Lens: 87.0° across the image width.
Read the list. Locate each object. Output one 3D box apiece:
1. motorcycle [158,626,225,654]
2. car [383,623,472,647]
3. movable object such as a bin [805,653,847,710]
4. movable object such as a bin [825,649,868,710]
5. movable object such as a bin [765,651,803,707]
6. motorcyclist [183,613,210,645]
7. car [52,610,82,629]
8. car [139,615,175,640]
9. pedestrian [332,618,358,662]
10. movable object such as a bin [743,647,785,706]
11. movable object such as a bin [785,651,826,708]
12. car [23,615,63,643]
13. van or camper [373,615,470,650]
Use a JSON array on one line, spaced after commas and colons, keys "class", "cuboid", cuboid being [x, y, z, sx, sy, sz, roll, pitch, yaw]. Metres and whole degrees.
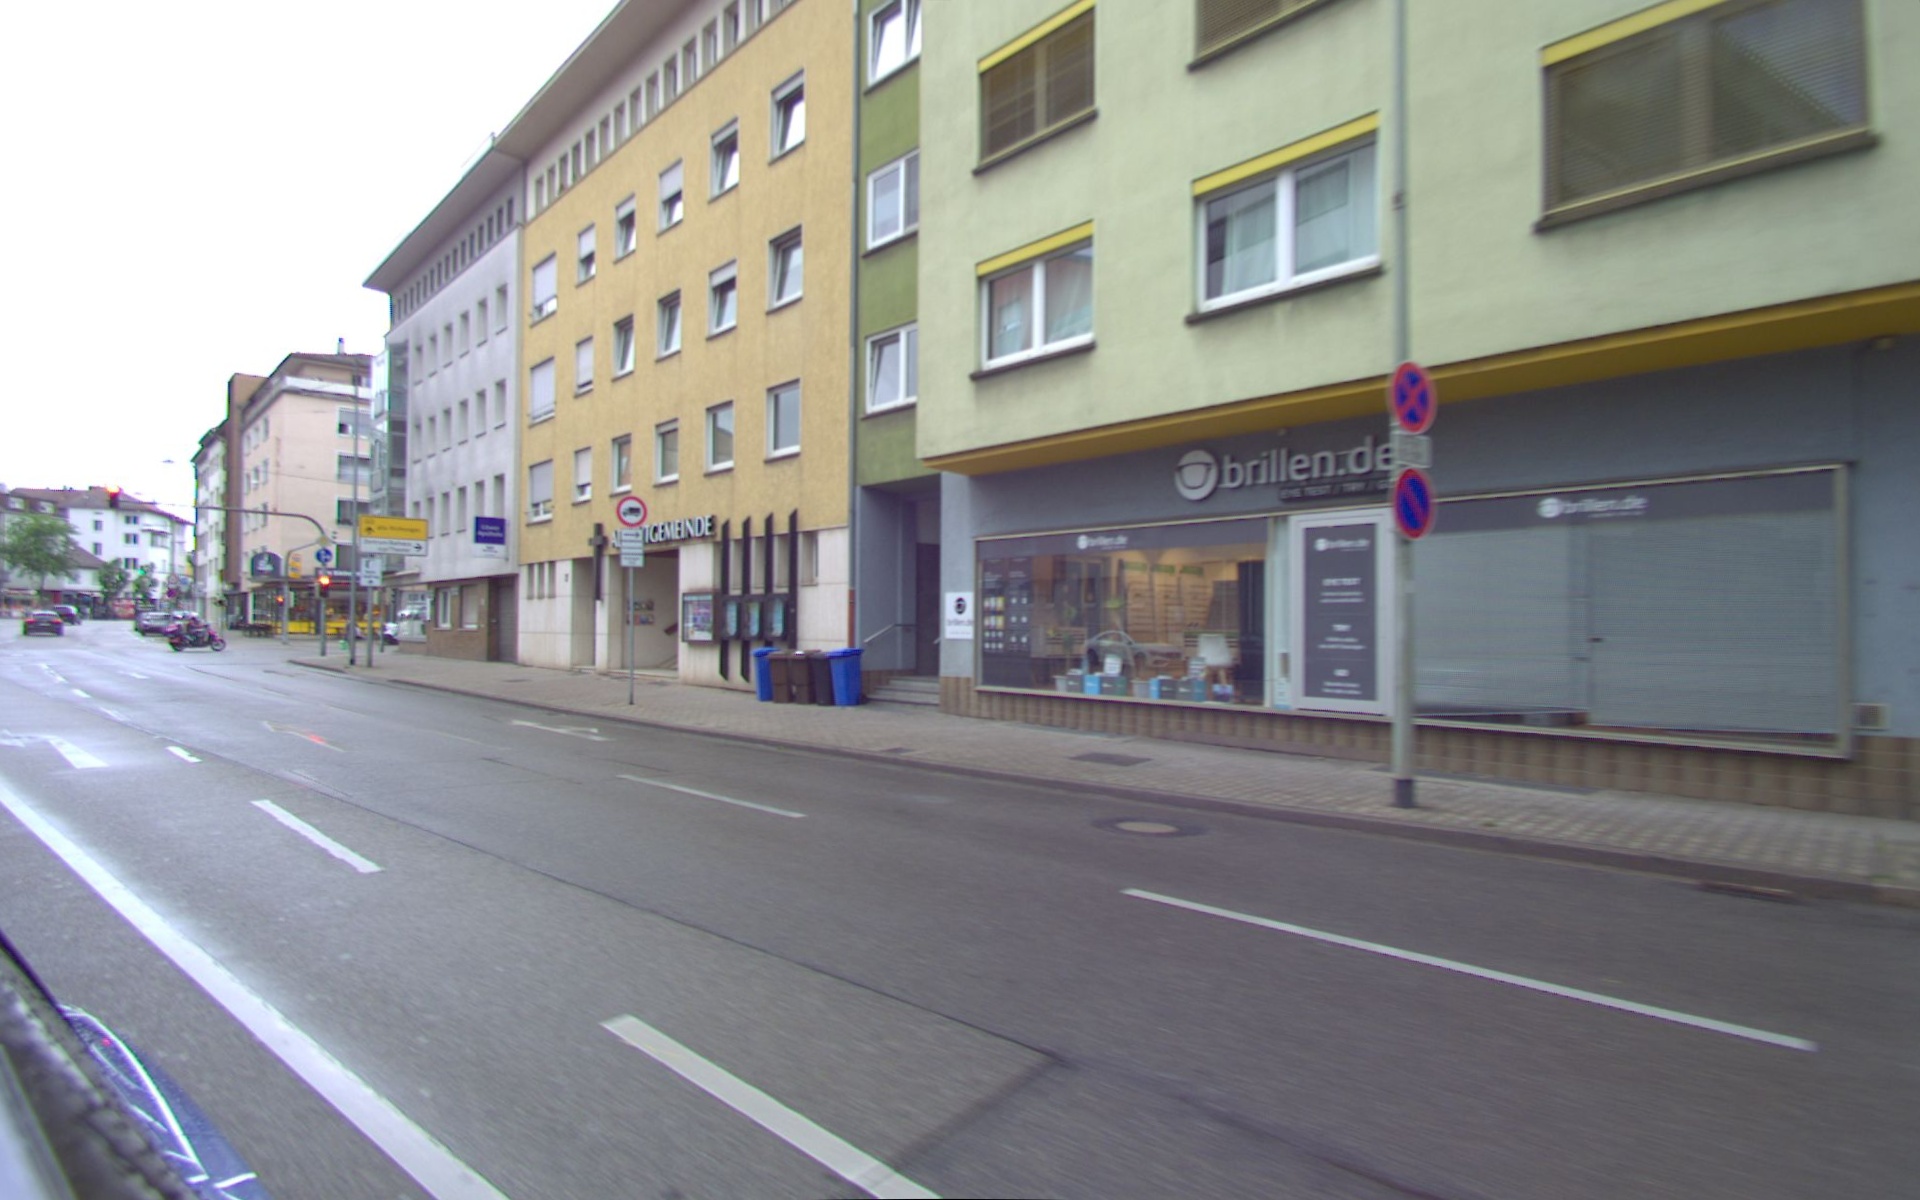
[{"class": "motorcycle", "cuboid": [-33.129, 1.724, 43.661, 2.257, 1.172, 0.775, 2, -2, -40]}, {"class": "car", "cuboid": [-30.112, 1.975, 57.286, 1.842, 1.300, 4.041, -1, -2, 42]}, {"class": "movable object such as a bin", "cuboid": [-2.299, 1.390, 17.408, 0.522, 0.902, 0.435, -4, 1, -42]}, {"class": "movable object such as a bin", "cuboid": [-1.917, 1.337, 17.121, 0.522, 0.968, 0.435, -4, 1, -42]}, {"class": "movable object such as a bin", "cuboid": [-3.128, 1.401, 17.996, 0.458, 0.935, 0.429, -4, 1, -42]}, {"class": "motorcyclist", "cuboid": [-32.999, 1.248, 43.748, 0.859, 1.337, 0.493, 2, -2, -41]}, {"class": "car", "cuboid": [-77.747, 1.700, 88.123, 1.567, 1.539, 3.496, 1, -2, -36]}, {"class": "car", "cuboid": [-54.170, 1.878, 68.281, 1.807, 1.634, 4.007, 2, -2, -39]}, {"class": "pedestrian", "cuboid": [-23.392, 1.515, 38.484, 0.773, 1.600, 0.675, -1, -1, -29]}, {"class": "movable object such as a bin", "cuboid": [-3.596, 1.389, 18.546, 0.510, 1.008, 0.524, -4, 1, -42]}, {"class": "movable object such as a bin", "cuboid": [-2.698, 1.383, 17.726, 0.521, 0.935, 0.426, -4, 1, -42]}, {"class": "car", "cuboid": [-55.874, 1.764, 61.696, 1.723, 1.608, 4.005, 2, -2, -42]}, {"class": "van or camper", "cuboid": [-33.255, 2.004, 62.579, 4.954, 2.029, 2.002, 2, 0, -44]}]
